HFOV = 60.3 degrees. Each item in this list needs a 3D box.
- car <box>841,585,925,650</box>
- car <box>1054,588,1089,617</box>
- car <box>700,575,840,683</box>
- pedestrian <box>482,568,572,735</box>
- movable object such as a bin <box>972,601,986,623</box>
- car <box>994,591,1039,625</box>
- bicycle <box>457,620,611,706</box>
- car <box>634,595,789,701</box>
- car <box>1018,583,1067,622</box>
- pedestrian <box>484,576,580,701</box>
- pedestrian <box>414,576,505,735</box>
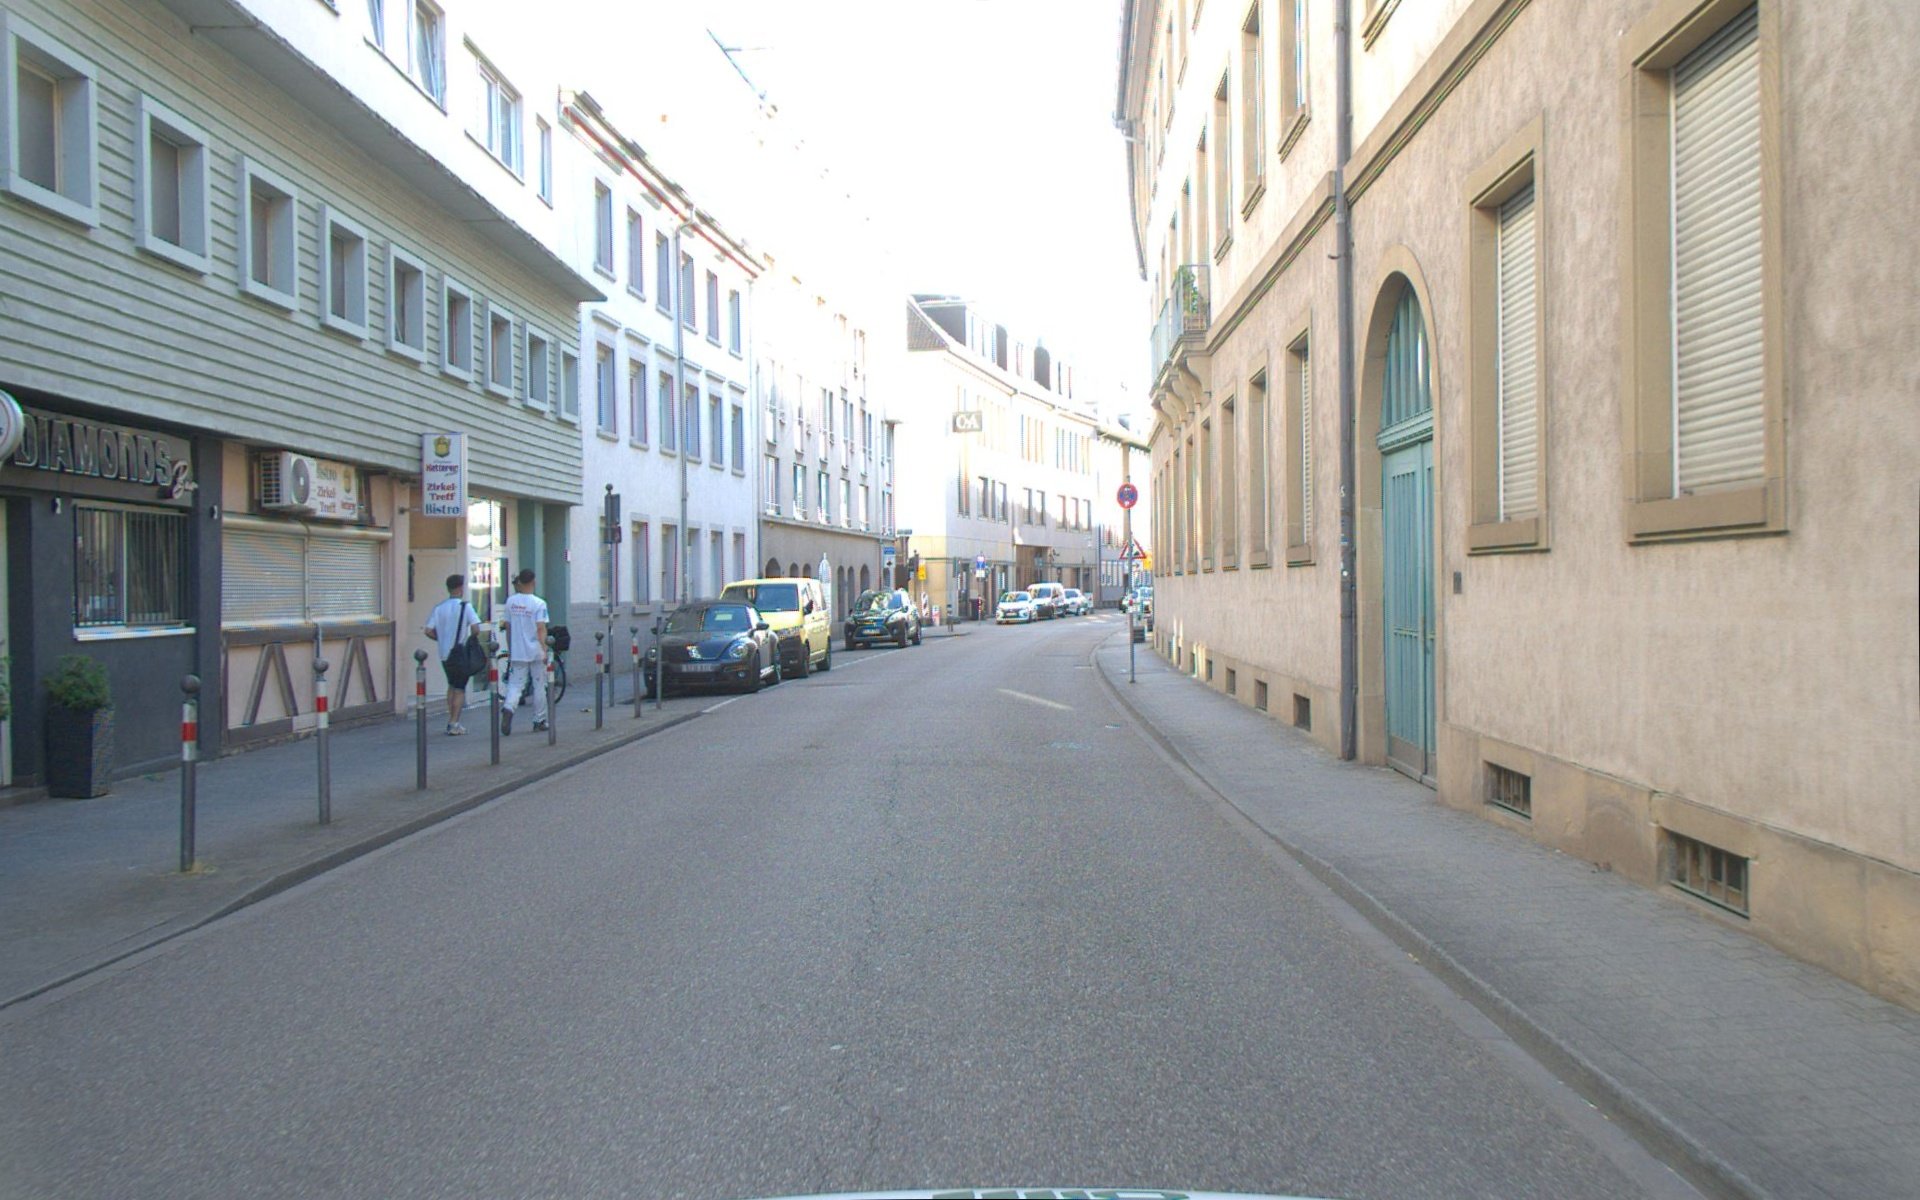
[{"bbox_3d":[-2.254,0.488,49.355,1.703,1.740,4.194,-3,0,7],"label":"car"},{"bbox_3d":[6.150,0.116,91.313,1.244,1.533,3.404,-2,0,15],"label":"car"},{"bbox_3d":[-3.682,0.522,32.956,1.841,1.899,4.866,-3,0,3],"label":"car"},{"bbox_3d":[-4.751,0.550,18.189,0.683,1.765,0.829,-2,0,2],"label":"pedestrian"},{"bbox_3d":[0.932,0.576,81.090,0.596,1.079,0.714,2,0,6],"label":"movable object such as a bin"},{"bbox_3d":[2.744,0.356,79.639,1.635,1.533,3.797,-2,0,9],"label":"car"},{"bbox_3d":[-6.133,0.893,23.823,2.086,1.183,0.823,-1,0,25],"label":"bicycle"},{"bbox_3d":[-4.037,0.732,27.493,1.781,1.512,4.077,-3,0,2],"label":"car"},{"bbox_3d":[4.288,0.100,85.339,1.635,1.850,4.556,-2,0,14],"label":"car"},{"bbox_3d":[-6.167,0.546,23.837,1.056,1.759,0.801,-1,0,24],"label":"pedestrian"},{"bbox_3d":[-5.509,0.597,18.247,0.658,1.699,0.895,-2,0,2],"label":"pedestrian"}]
